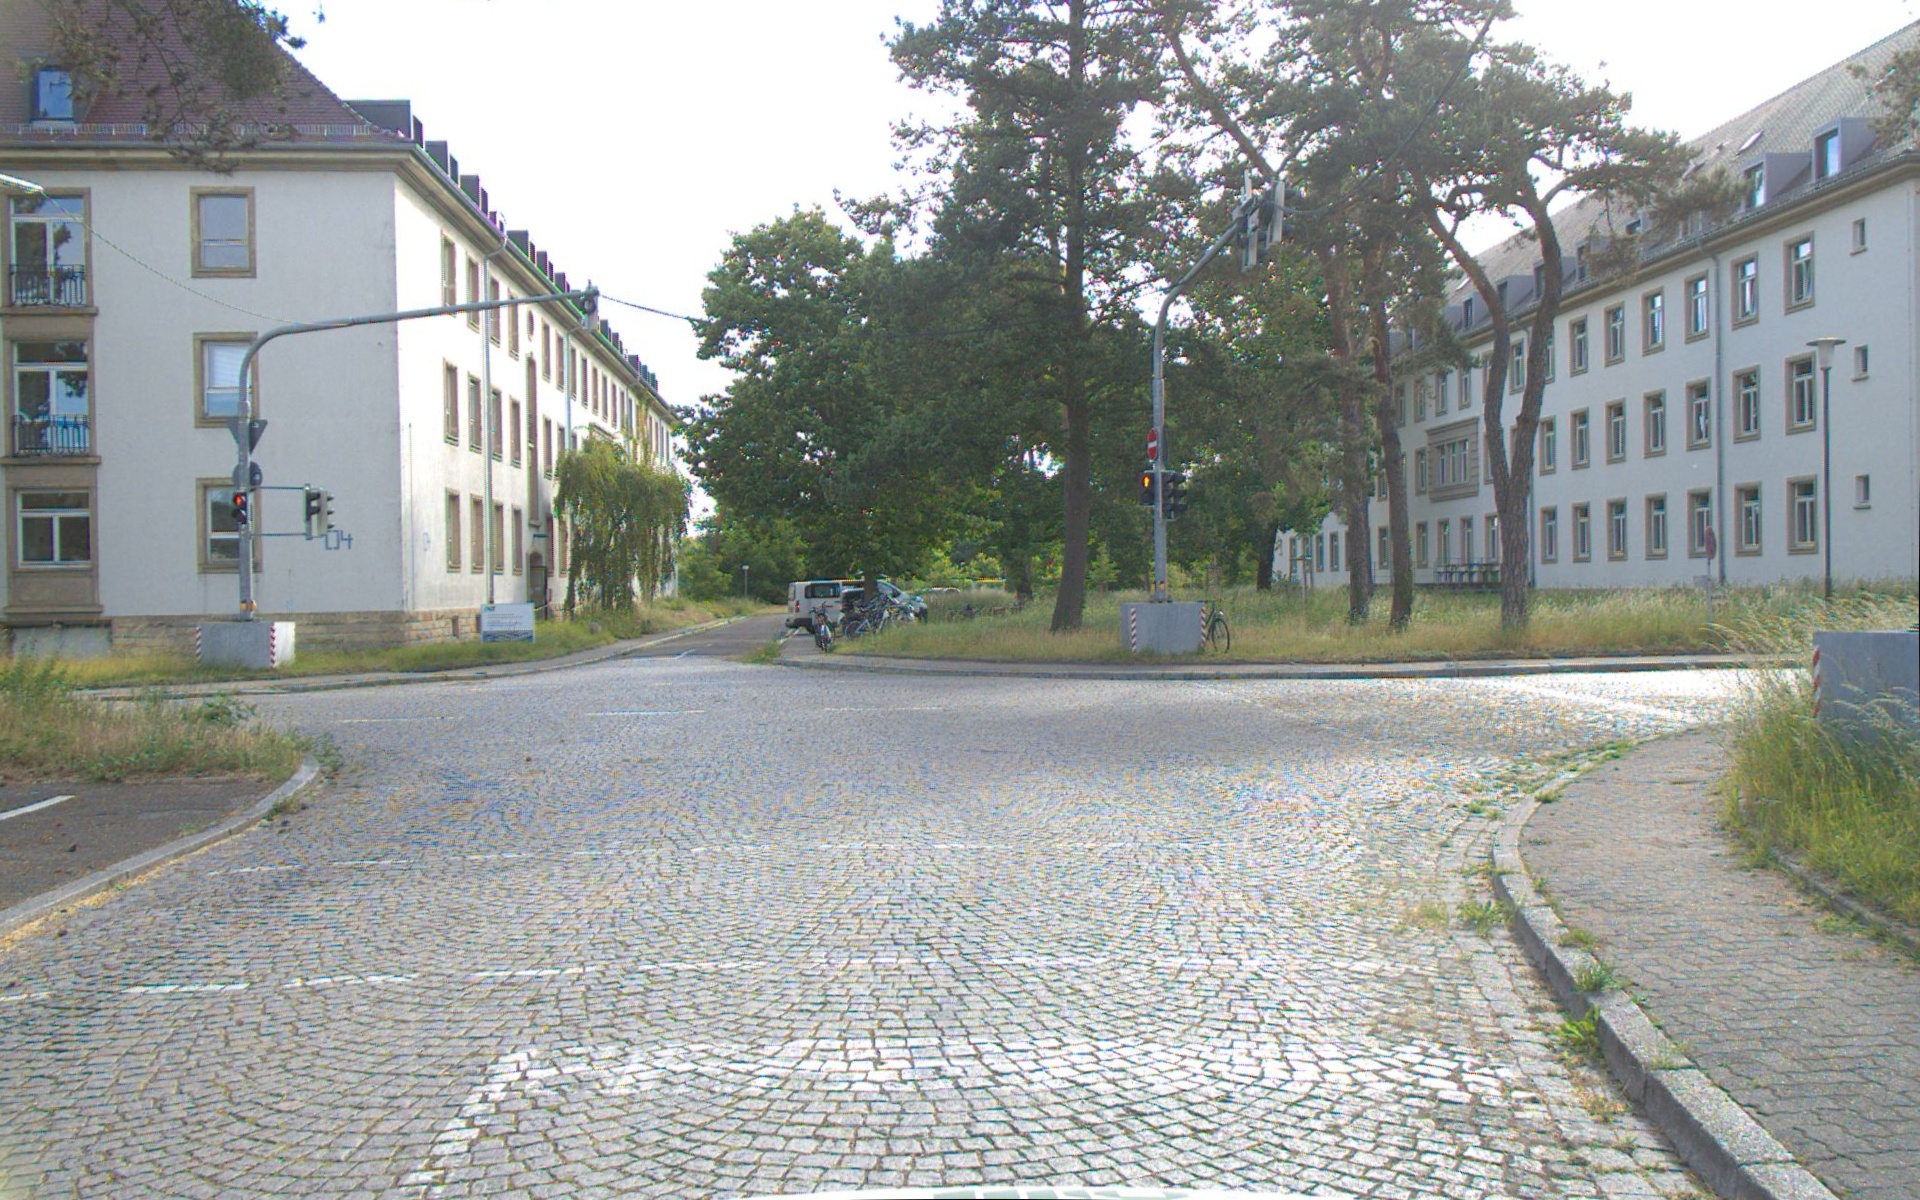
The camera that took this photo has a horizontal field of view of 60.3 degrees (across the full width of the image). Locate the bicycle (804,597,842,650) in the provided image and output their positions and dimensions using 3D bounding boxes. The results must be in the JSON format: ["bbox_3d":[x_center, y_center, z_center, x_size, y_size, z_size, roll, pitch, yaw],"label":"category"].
[{"bbox_3d":[-3.192,0.539,38.697,0.711,1.126,2.461,-5,0,-3],"label":"bicycle"}]

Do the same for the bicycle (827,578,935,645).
[{"bbox_3d":[-2.131,0.293,44.261,2.726,1.723,1.117,-1,0,-12],"label":"bicycle"}]

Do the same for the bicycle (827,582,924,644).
[{"bbox_3d":[-2.430,0.375,47.812,2.719,1.724,1.120,1,0,0],"label":"bicycle"}]

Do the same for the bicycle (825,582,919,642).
[{"bbox_3d":[-2.604,0.355,49.139,2.720,1.724,1.119,1,0,-3],"label":"bicycle"}]

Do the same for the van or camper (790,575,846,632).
[{"bbox_3d":[-5.292,0.098,61.452,1.955,1.983,6.045,-1,0,-5],"label":"van or camper"}]

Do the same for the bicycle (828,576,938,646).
[{"bbox_3d":[-2.023,0.271,43.073,2.725,1.723,1.118,-1,0,-10],"label":"bicycle"}]

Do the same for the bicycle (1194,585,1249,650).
[{"bbox_3d":[5.001,0.320,31.780,0.709,1.189,2.738,1,0,2],"label":"bicycle"}]

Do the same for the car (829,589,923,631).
[{"bbox_3d":[-2.928,0.336,57.427,3.080,1.378,1.616,-1,0,-10],"label":"car"}]
